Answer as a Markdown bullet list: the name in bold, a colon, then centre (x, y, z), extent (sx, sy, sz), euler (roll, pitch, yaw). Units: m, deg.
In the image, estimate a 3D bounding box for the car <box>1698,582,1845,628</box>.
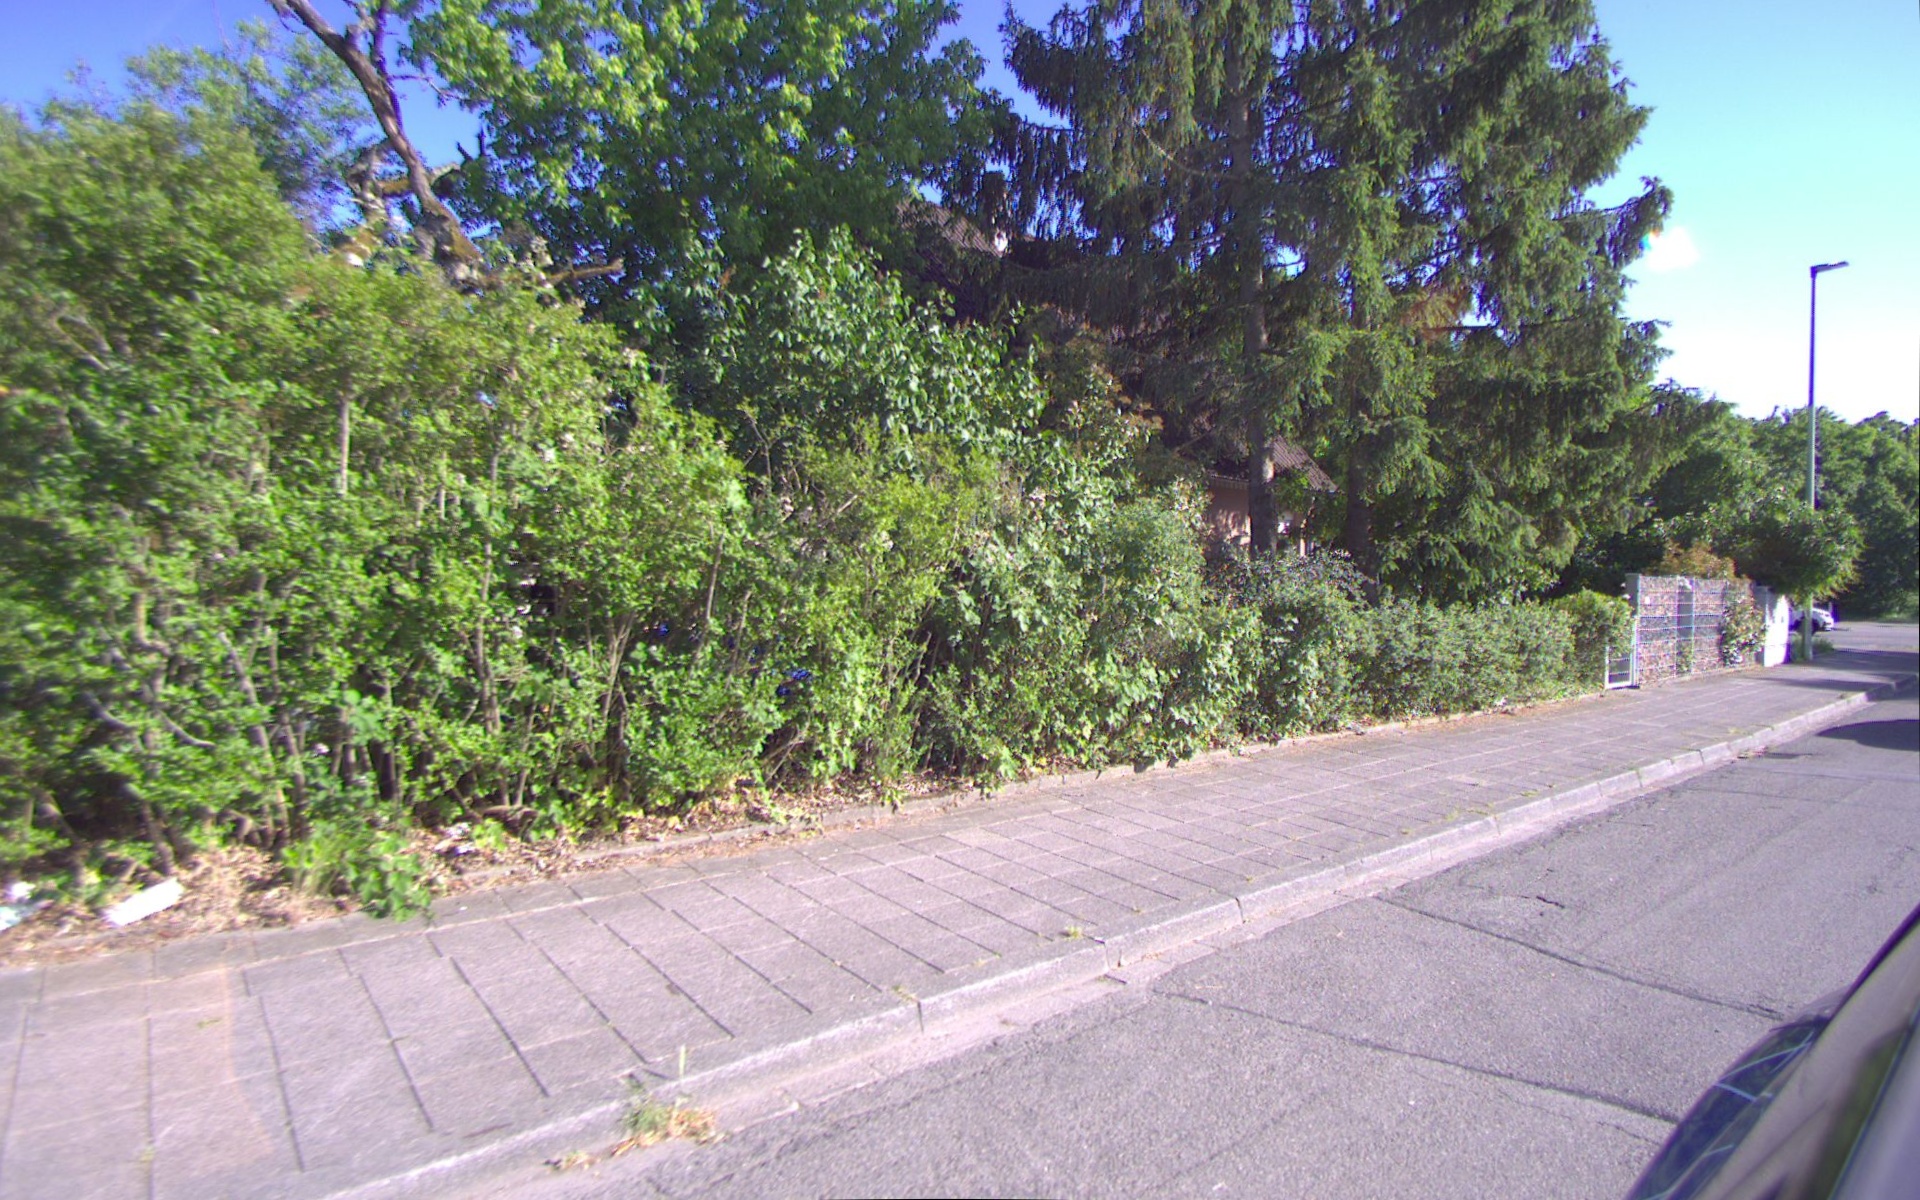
- **car**: centre (34.656, 0.173, 43.405), extent (4.840, 1.864, 1.838), euler (0, 0, 39)
